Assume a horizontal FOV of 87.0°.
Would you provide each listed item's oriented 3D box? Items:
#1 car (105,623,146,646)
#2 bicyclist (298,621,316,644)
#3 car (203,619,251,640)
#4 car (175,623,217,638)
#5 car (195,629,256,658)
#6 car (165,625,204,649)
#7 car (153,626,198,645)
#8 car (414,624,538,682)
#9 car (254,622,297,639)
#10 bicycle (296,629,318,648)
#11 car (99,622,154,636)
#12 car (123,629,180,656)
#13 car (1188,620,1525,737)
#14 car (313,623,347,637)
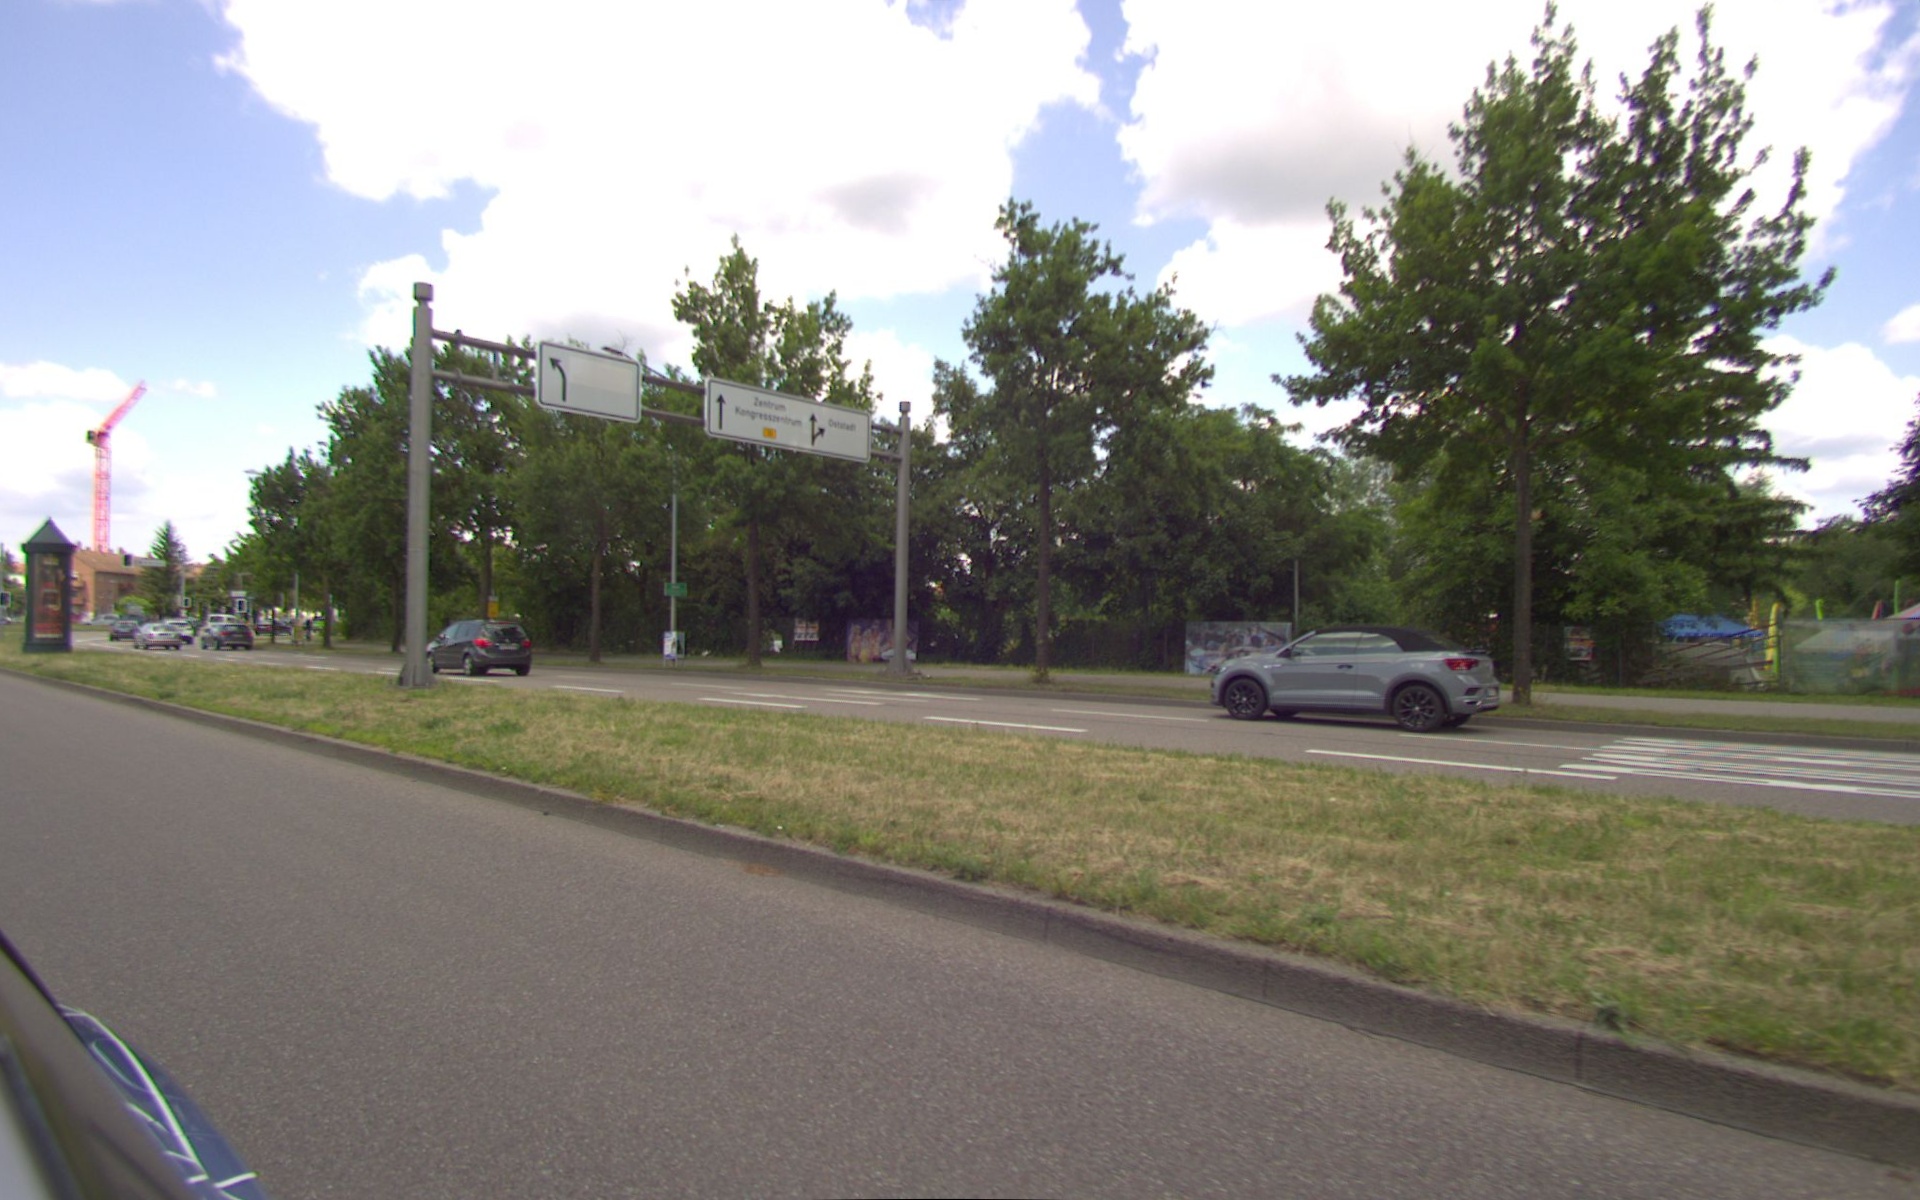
[{"bbox_3d":[-59.657,2.469,72.410,1.699,1.603,5.026,2,-2,-33],"label":"car"},{"bbox_3d":[-45.043,2.241,69.791,0.883,1.576,0.821,-1,0,41],"label":"bicyclist"},{"bbox_3d":[-67.819,2.756,93.684,1.813,1.813,4.800,2,-2,-14],"label":"car"},{"bbox_3d":[-92.952,3.690,123.165,4.765,1.699,2.258,-1,-1,28],"label":"car"},{"bbox_3d":[-42.951,2.516,59.104,5.028,1.589,1.745,-1,-3,41],"label":"car"},{"bbox_3d":[-52.831,2.519,68.991,1.884,1.552,4.379,2,-2,-35],"label":"car"},{"bbox_3d":[-64.937,2.945,83.855,1.812,1.491,4.768,3,-3,-25],"label":"car"},{"bbox_3d":[-14.290,1.524,29.789,4.274,1.581,1.723,-1,-3,42],"label":"car"},{"bbox_3d":[-61.977,2.782,91.690,1.813,1.454,4.431,2,-2,-14],"label":"car"},{"bbox_3d":[-45.001,2.663,69.741,2.015,1.228,0.753,-1,1,41],"label":"bicycle"},{"bbox_3d":[-96.372,3.369,117.074,4.517,1.604,1.918,1,-1,-10],"label":"car"},{"bbox_3d":[-45.074,2.357,56.387,4.307,1.451,1.744,-1,-3,41],"label":"car"},{"bbox_3d":[6.016,1.123,15.703,4.570,1.557,1.723,-1,-3,40],"label":"car"},{"bbox_3d":[-65.018,3.080,104.469,1.594,1.358,4.180,2,-2,-11],"label":"car"}]
